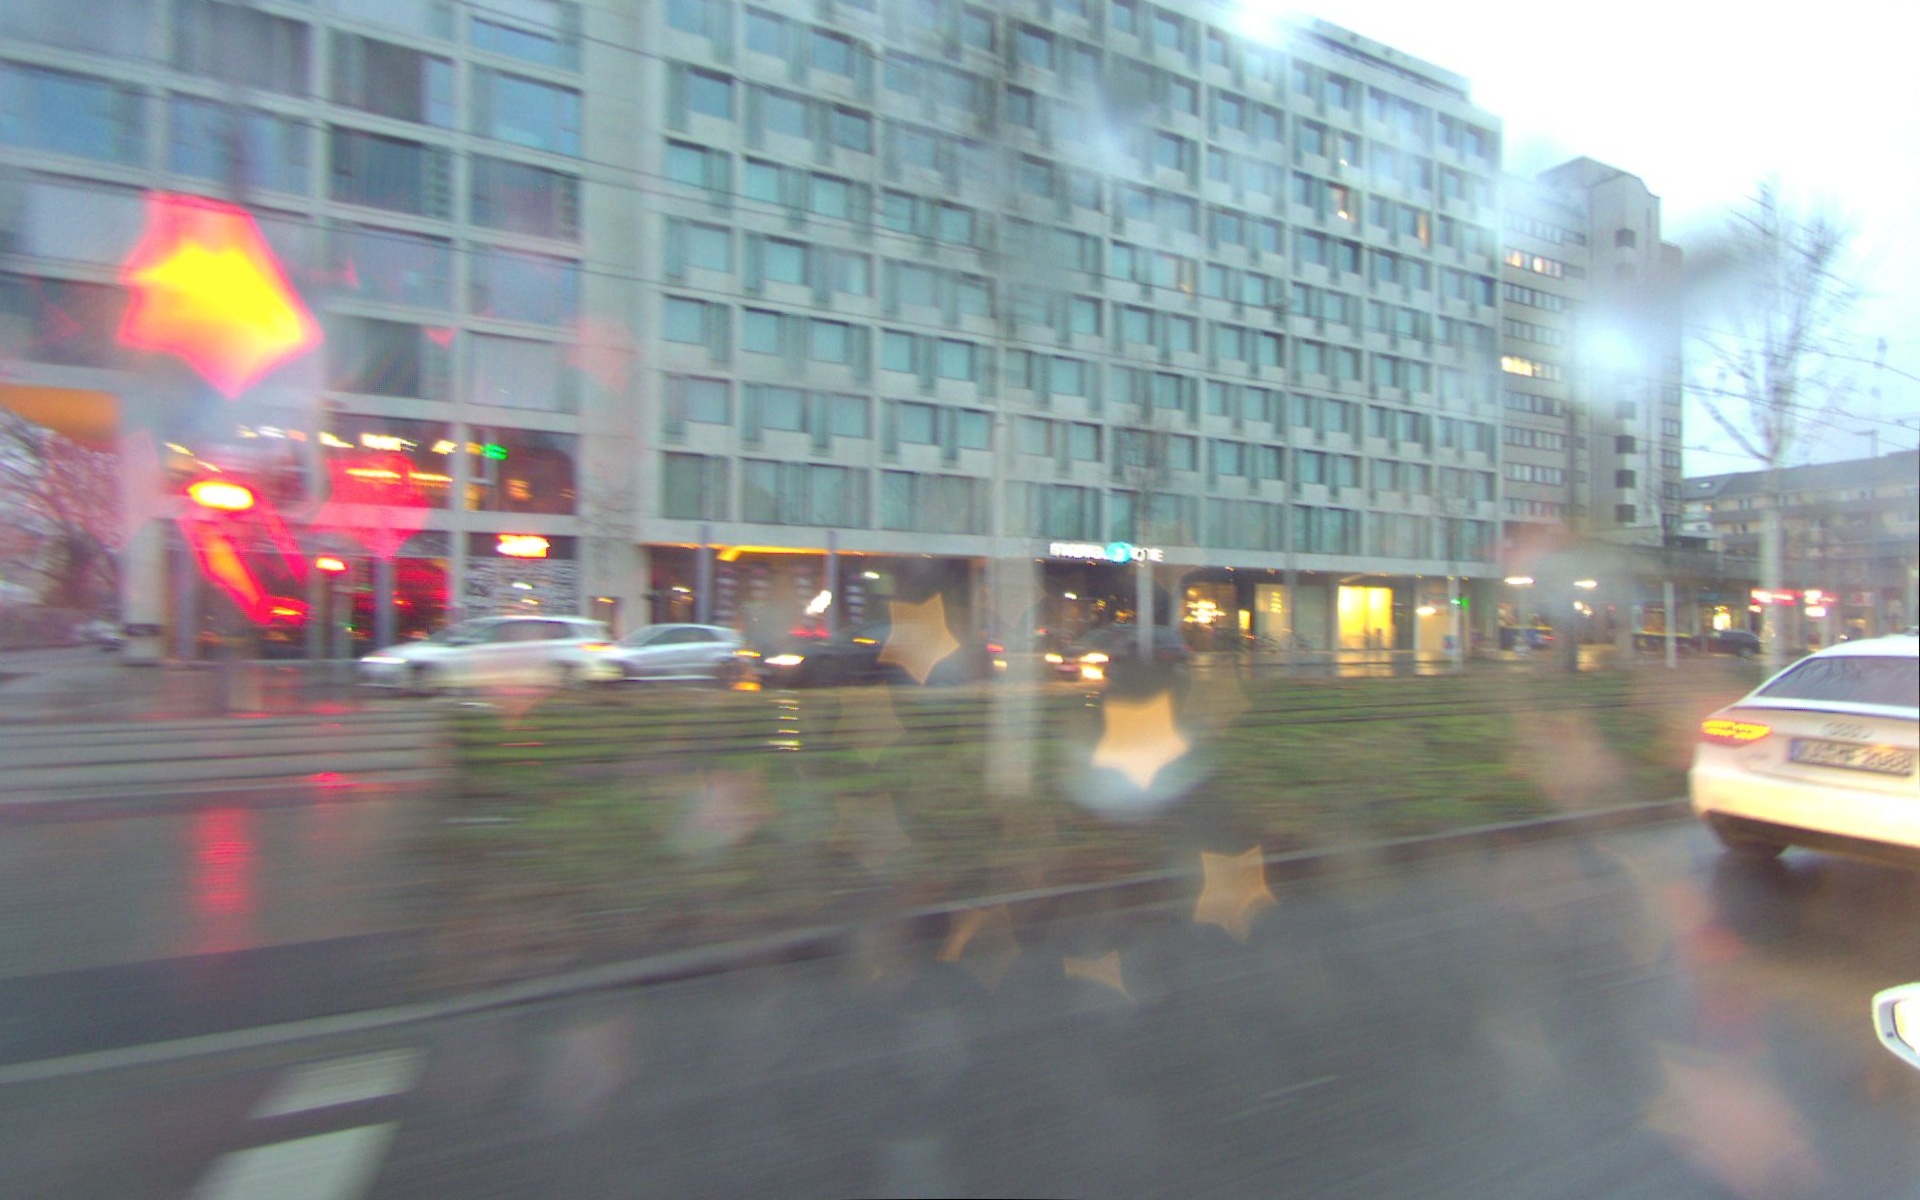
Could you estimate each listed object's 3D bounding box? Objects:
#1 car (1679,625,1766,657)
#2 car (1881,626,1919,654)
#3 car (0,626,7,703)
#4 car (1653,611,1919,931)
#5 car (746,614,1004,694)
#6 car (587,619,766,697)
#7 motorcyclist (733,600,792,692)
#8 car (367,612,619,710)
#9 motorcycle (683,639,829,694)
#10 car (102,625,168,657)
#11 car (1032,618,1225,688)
[{"bbox_3d":[45.831,2.418,60.448,3.745,1.821,1.909,0,-1,21],"label":"car"},{"bbox_3d":[71.329,2.967,73.919,4.789,2.040,2.000,0,-1,21],"label":"car"},{"bbox_3d":[-21.498,1.297,19.462,3.945,1.595,1.876,1,0,-24],"label":"car"},{"bbox_3d":[6.240,0.862,6.022,4.200,1.489,1.752,1,0,-29],"label":"car"},{"bbox_3d":[-1.748,1.089,21.082,5.032,1.481,1.985,1,0,-28],"label":"car"},{"bbox_3d":[-7.246,1.442,25.676,4.121,1.813,1.875,1,0,-26],"label":"car"},{"bbox_3d":[-4.244,0.964,21.556,1.021,1.910,0.867,1,0,-28],"label":"motorcyclist"},{"bbox_3d":[-9.630,1.217,20.907,4.541,1.813,1.874,1,0,-28],"label":"car"},{"bbox_3d":[-4.351,1.397,21.499,2.930,1.071,0.867,1,0,-28],"label":"motorcycle"},{"bbox_3d":[-44.585,2.193,54.369,1.862,1.595,3.974,1,-1,-26],"label":"car"},{"bbox_3d":[4.197,1.223,24.466,5.058,1.481,1.975,2,0,-43],"label":"car"}]
